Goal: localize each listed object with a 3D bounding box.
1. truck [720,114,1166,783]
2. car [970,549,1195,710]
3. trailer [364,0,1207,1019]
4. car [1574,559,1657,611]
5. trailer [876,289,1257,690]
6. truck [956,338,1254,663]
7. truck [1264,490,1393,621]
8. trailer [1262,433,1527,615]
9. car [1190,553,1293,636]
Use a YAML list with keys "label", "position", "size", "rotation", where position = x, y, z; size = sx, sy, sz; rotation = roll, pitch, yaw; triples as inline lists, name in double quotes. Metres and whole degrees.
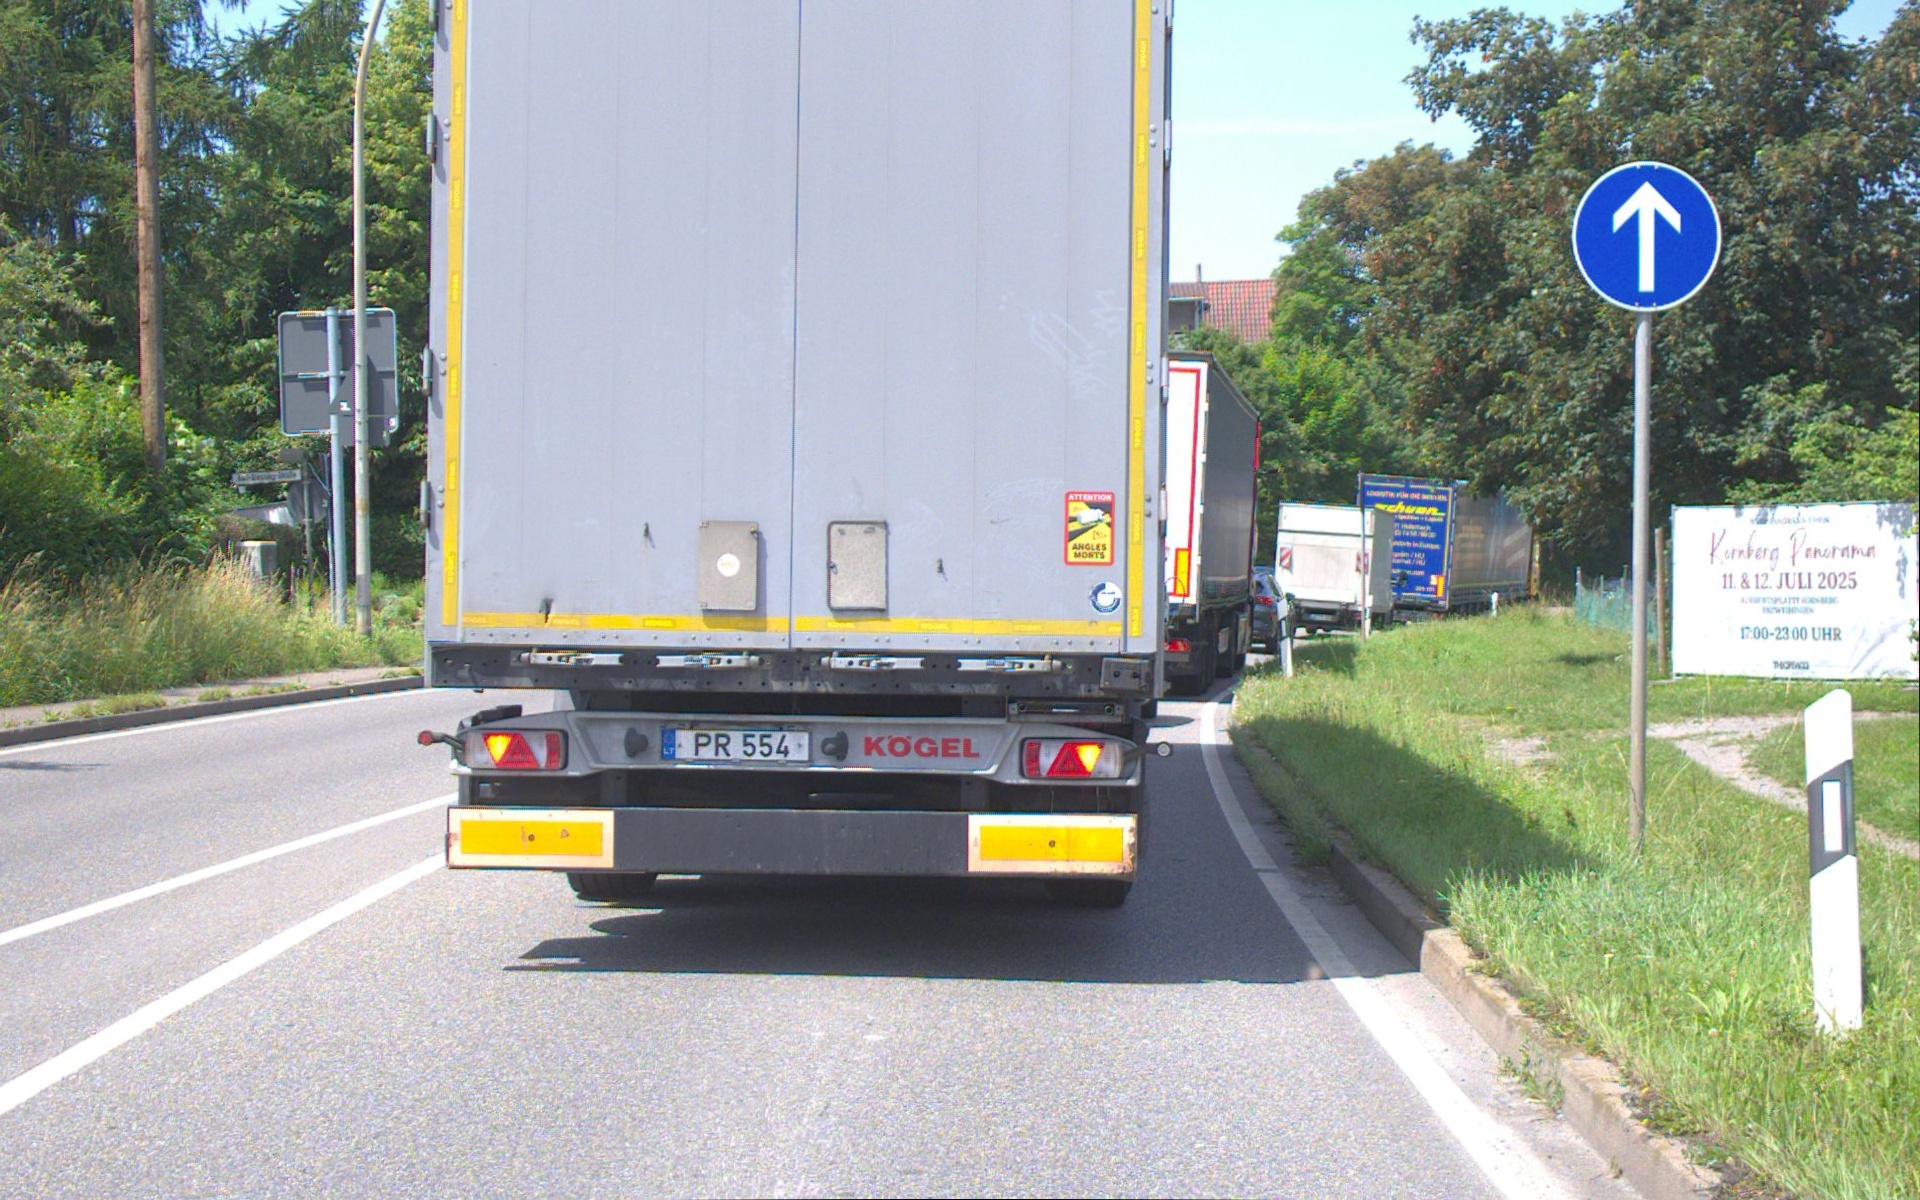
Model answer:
- label: "truck"
  position: [0.034, -1.023, 24.555]
  size: [2.746, 4.151, 6.142]
  rotation: [1, 1, 3]
- label: "car"
  position: [1.328, 0.258, 35.672]
  size: [1.994, 1.525, 3.999]
  rotation: [1, 1, 7]
- label: "trailer"
  position: [-0.331, -0.867, 17.505]
  size: [2.787, 4.191, 12.111]
  rotation: [1, 1, 2]
- label: "car"
  position: [22.629, -0.533, 118.605]
  size: [1.996, 1.678, 3.995]
  rotation: [1, 1, 23]
- label: "trailer"
  position: [1.735, -1.402, 45.258]
  size: [3.892, 4.505, 12.710]
  rotation: [1, 1, 7]
- label: "truck"
  position: [2.335, -1.458, 52.112]
  size: [3.938, 4.559, 7.150]
  rotation: [0, 1, 7]
- label: "truck"
  position: [8.406, -1.042, 78.010]
  size: [2.421, 2.828, 5.410]
  rotation: [1, 1, 11]
- label: "trailer"
  position: [12.360, -2.136, 95.683]
  size: [5.183, 4.612, 15.885]
  rotation: [1, 1, 15]
- label: "car"
  position: [5.393, -0.129, 65.483]
  size: [1.841, 1.481, 3.999]
  rotation: [1, 1, 6]
